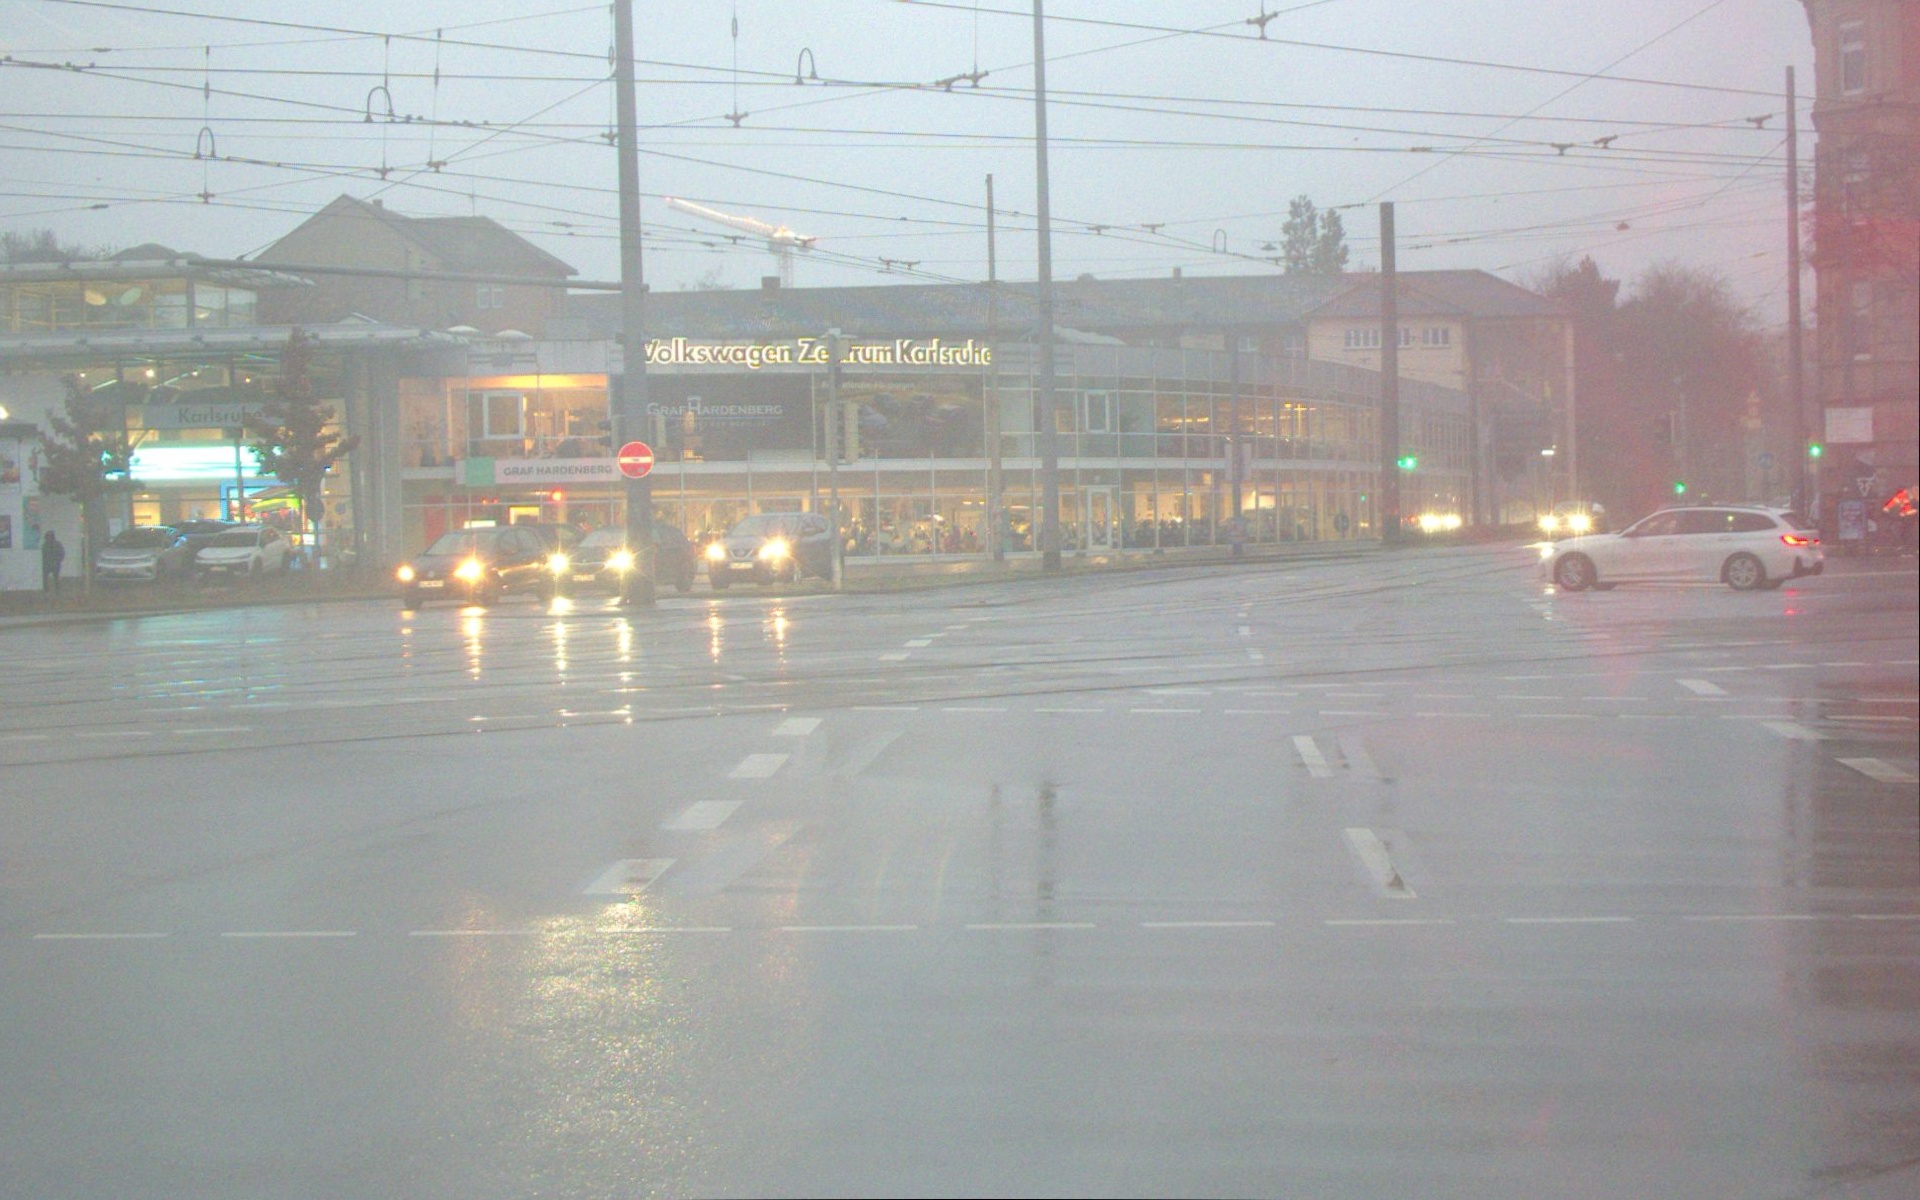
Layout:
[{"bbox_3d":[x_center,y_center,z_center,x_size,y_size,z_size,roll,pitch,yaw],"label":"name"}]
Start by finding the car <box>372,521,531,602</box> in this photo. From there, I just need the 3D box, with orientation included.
[{"bbox_3d":[-9.530,-0.752,64.759,1.813,1.441,3.999,-1,1,9],"label":"car"}]

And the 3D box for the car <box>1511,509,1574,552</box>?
[{"bbox_3d":[22.979,-2.751,135.536,1.864,1.596,3.783,-1,1,18],"label":"car"}]

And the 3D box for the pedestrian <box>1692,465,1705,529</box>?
[{"bbox_3d":[23.060,-3.215,107.303,0.344,2.007,0.418,-1,1,15],"label":"pedestrian"}]

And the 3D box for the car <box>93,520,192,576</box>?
[{"bbox_3d":[-24.335,-1.566,102.512,1.862,1.596,4.000,-1,1,2],"label":"car"}]

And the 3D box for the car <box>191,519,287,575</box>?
[{"bbox_3d":[-21.428,-1.589,102.273,1.862,1.596,4.000,-1,1,2],"label":"car"}]

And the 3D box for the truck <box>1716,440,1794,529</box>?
[{"bbox_3d":[25.028,-3.609,108.120,1.995,2.682,5.111,-1,1,17],"label":"truck"}]

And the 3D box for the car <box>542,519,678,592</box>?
[{"bbox_3d":[-7.233,-0.939,71.423,1.813,1.441,3.999,-1,1,9],"label":"car"}]

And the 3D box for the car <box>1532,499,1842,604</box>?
[{"bbox_3d":[12.208,-0.812,57.764,4.805,1.651,1.738,-1,1,25],"label":"car"}]

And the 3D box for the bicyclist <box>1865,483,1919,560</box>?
[{"bbox_3d":[21.901,-1.821,80.170,1.047,1.762,1.072,-2,1,-37],"label":"bicyclist"}]

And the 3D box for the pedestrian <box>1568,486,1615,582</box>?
[{"bbox_3d":[12.179,-1.277,66.293,0.591,1.834,0.619,-2,1,-35],"label":"pedestrian"}]

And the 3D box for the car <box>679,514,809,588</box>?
[{"bbox_3d":[-4.397,-1.020,70.530,1.813,1.441,3.999,-1,1,9],"label":"car"}]

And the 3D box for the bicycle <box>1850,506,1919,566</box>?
[{"bbox_3d":[21.892,-1.490,80.161,0.695,1.371,2.207,-2,1,-38],"label":"bicycle"}]
